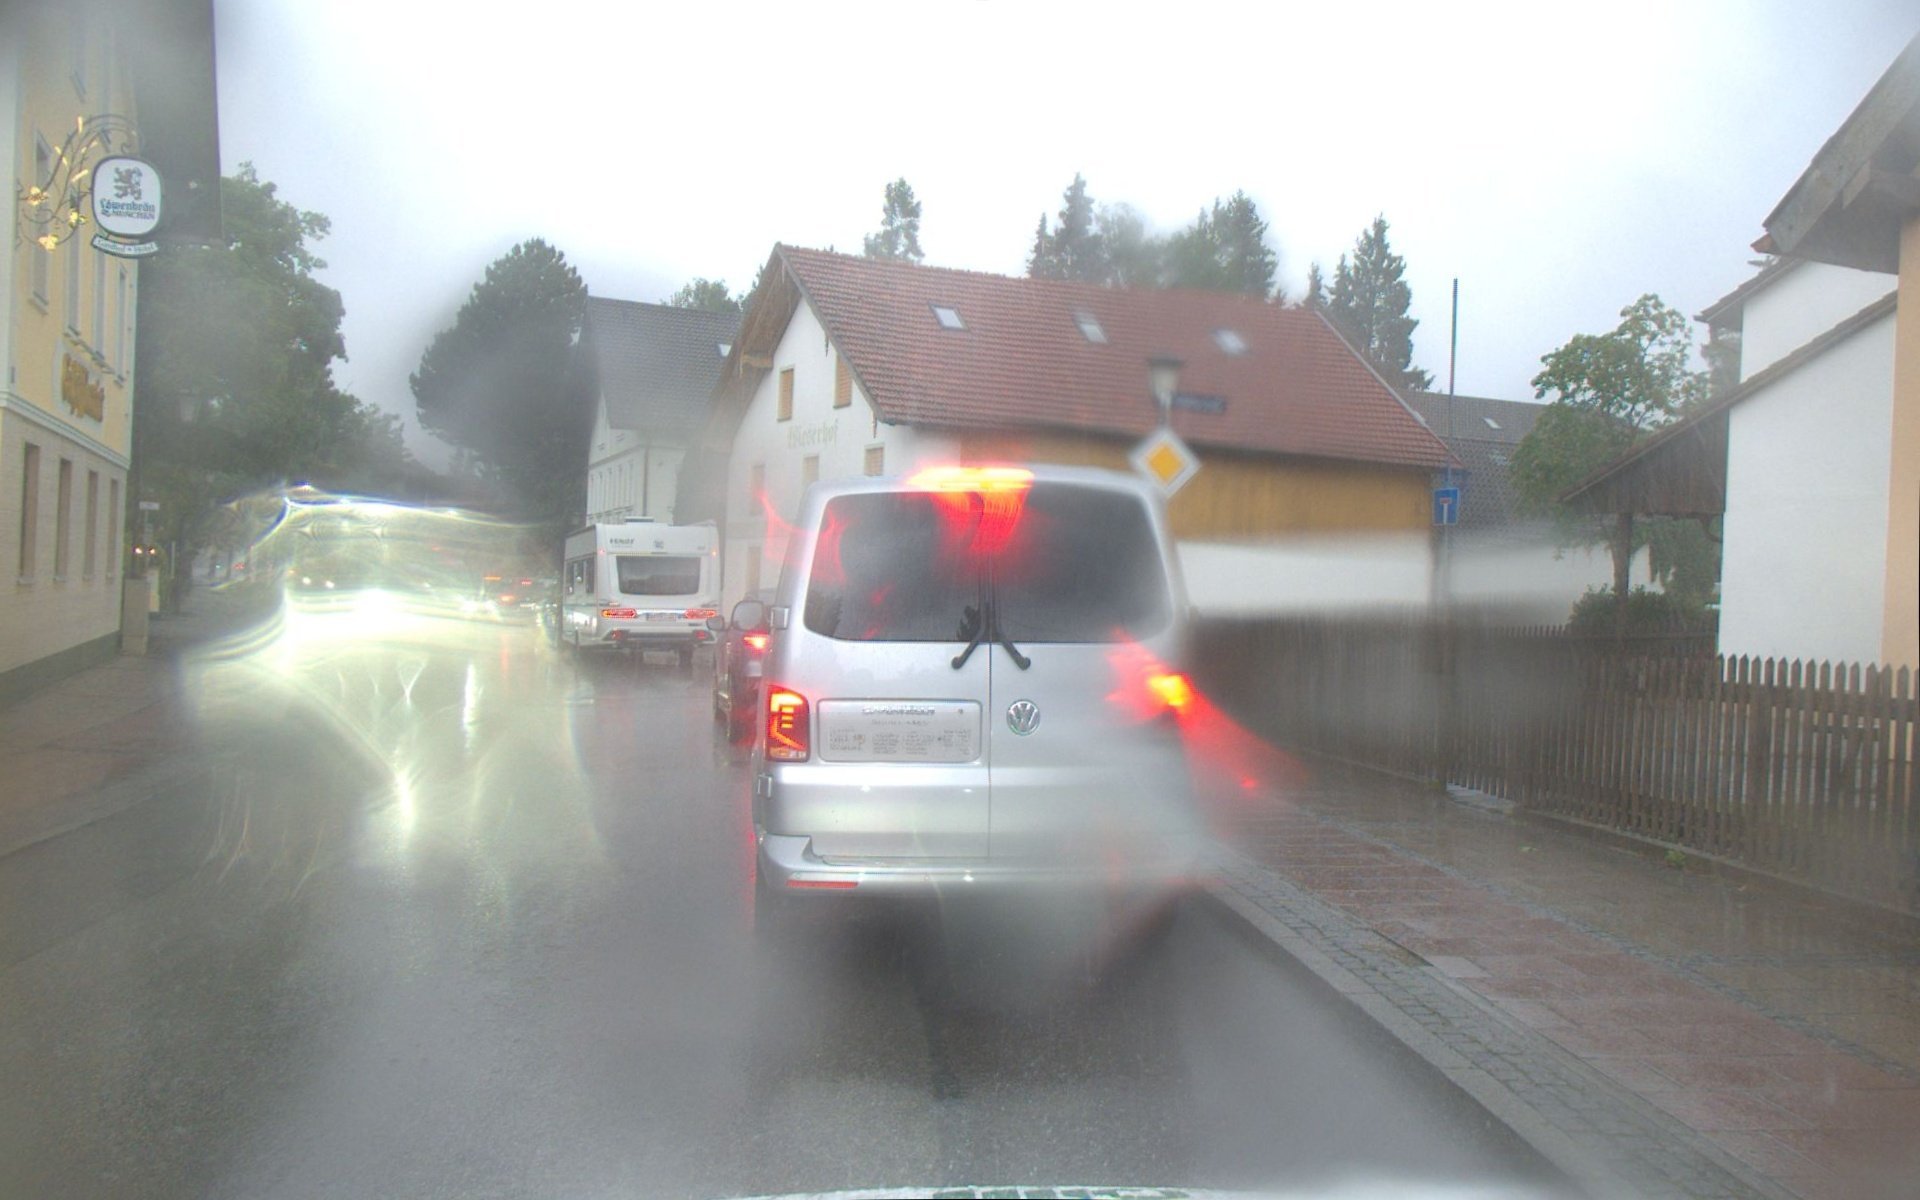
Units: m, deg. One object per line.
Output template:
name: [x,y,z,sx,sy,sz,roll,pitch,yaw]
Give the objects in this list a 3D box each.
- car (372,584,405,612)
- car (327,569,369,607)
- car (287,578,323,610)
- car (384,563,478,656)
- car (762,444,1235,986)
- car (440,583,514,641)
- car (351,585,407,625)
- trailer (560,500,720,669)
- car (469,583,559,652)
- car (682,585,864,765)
car: [-44.412,-0.190,128.463,2.139,1.932,4.982,3,1,-22]
car: [-29.930,-0.597,80.956,1.835,1.788,4.456,-2,1,-20]
car: [-39.058,-0.388,98.737,1.835,1.788,4.456,-2,1,-20]
car: [-12.259,0.216,38.162,1.824,2.006,4.672,0,0,-21]
car: [0.113,0.429,8.672,1.740,1.997,5.073,0,0,-1]
car: [-17.994,0.414,61.457,2.139,1.932,4.982,3,1,-22]
car: [-21.774,0.160,61.924,1.836,1.382,4.455,0,1,-21]
trailer: [-6.360,-0.270,32.235,2.236,2.955,6.099,1,0,-19]
car: [-14.317,0.520,52.877,2.139,1.932,4.982,3,1,-22]
car: [-2.011,0.678,17.790,1.676,1.611,4.679,-1,1,-7]
